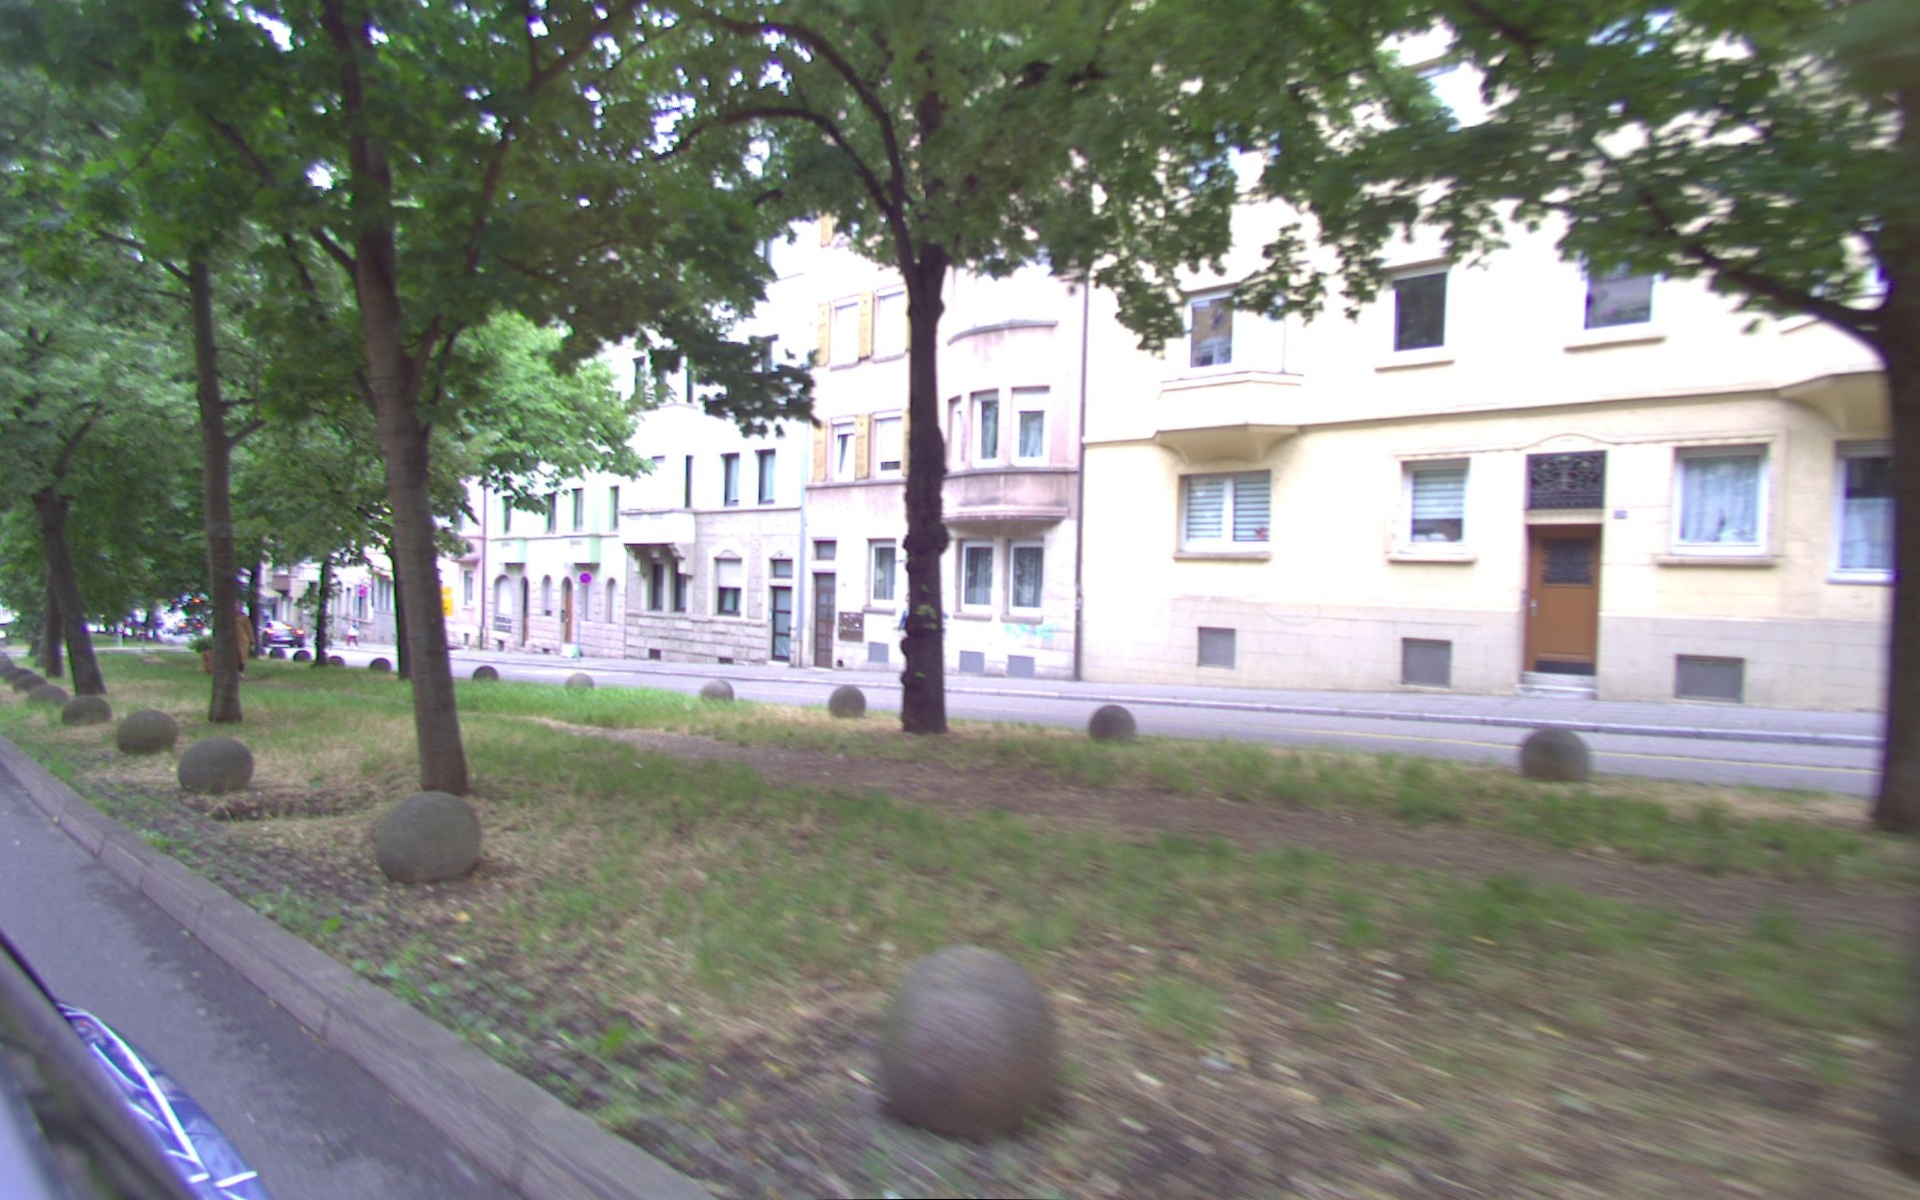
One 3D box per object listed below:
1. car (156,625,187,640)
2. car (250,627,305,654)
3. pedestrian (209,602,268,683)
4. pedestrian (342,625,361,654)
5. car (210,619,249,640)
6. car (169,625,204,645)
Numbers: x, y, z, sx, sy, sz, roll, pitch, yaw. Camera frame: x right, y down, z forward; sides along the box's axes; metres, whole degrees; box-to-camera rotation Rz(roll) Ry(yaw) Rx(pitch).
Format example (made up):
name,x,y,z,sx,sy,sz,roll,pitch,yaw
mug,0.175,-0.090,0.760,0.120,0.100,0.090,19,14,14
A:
name,x,y,z,sx,sy,sz,roll,pitch,yaw
car,-73.539,3.037,94.394,4.295,1.417,1.650,-2,-2,44
car,-37.186,2.228,55.091,1.737,1.393,4.673,2,-4,-43
pedestrian,-16.167,0.942,22.677,0.823,1.725,1.124,5,-3,-44
pedestrian,-31.314,2.037,52.079,0.690,1.471,0.705,-1,-1,-43
car,-51.577,2.108,71.420,1.688,1.393,4.673,2,-4,-43
car,-68.001,3.078,88.962,1.795,1.649,4.682,3,-2,-45
